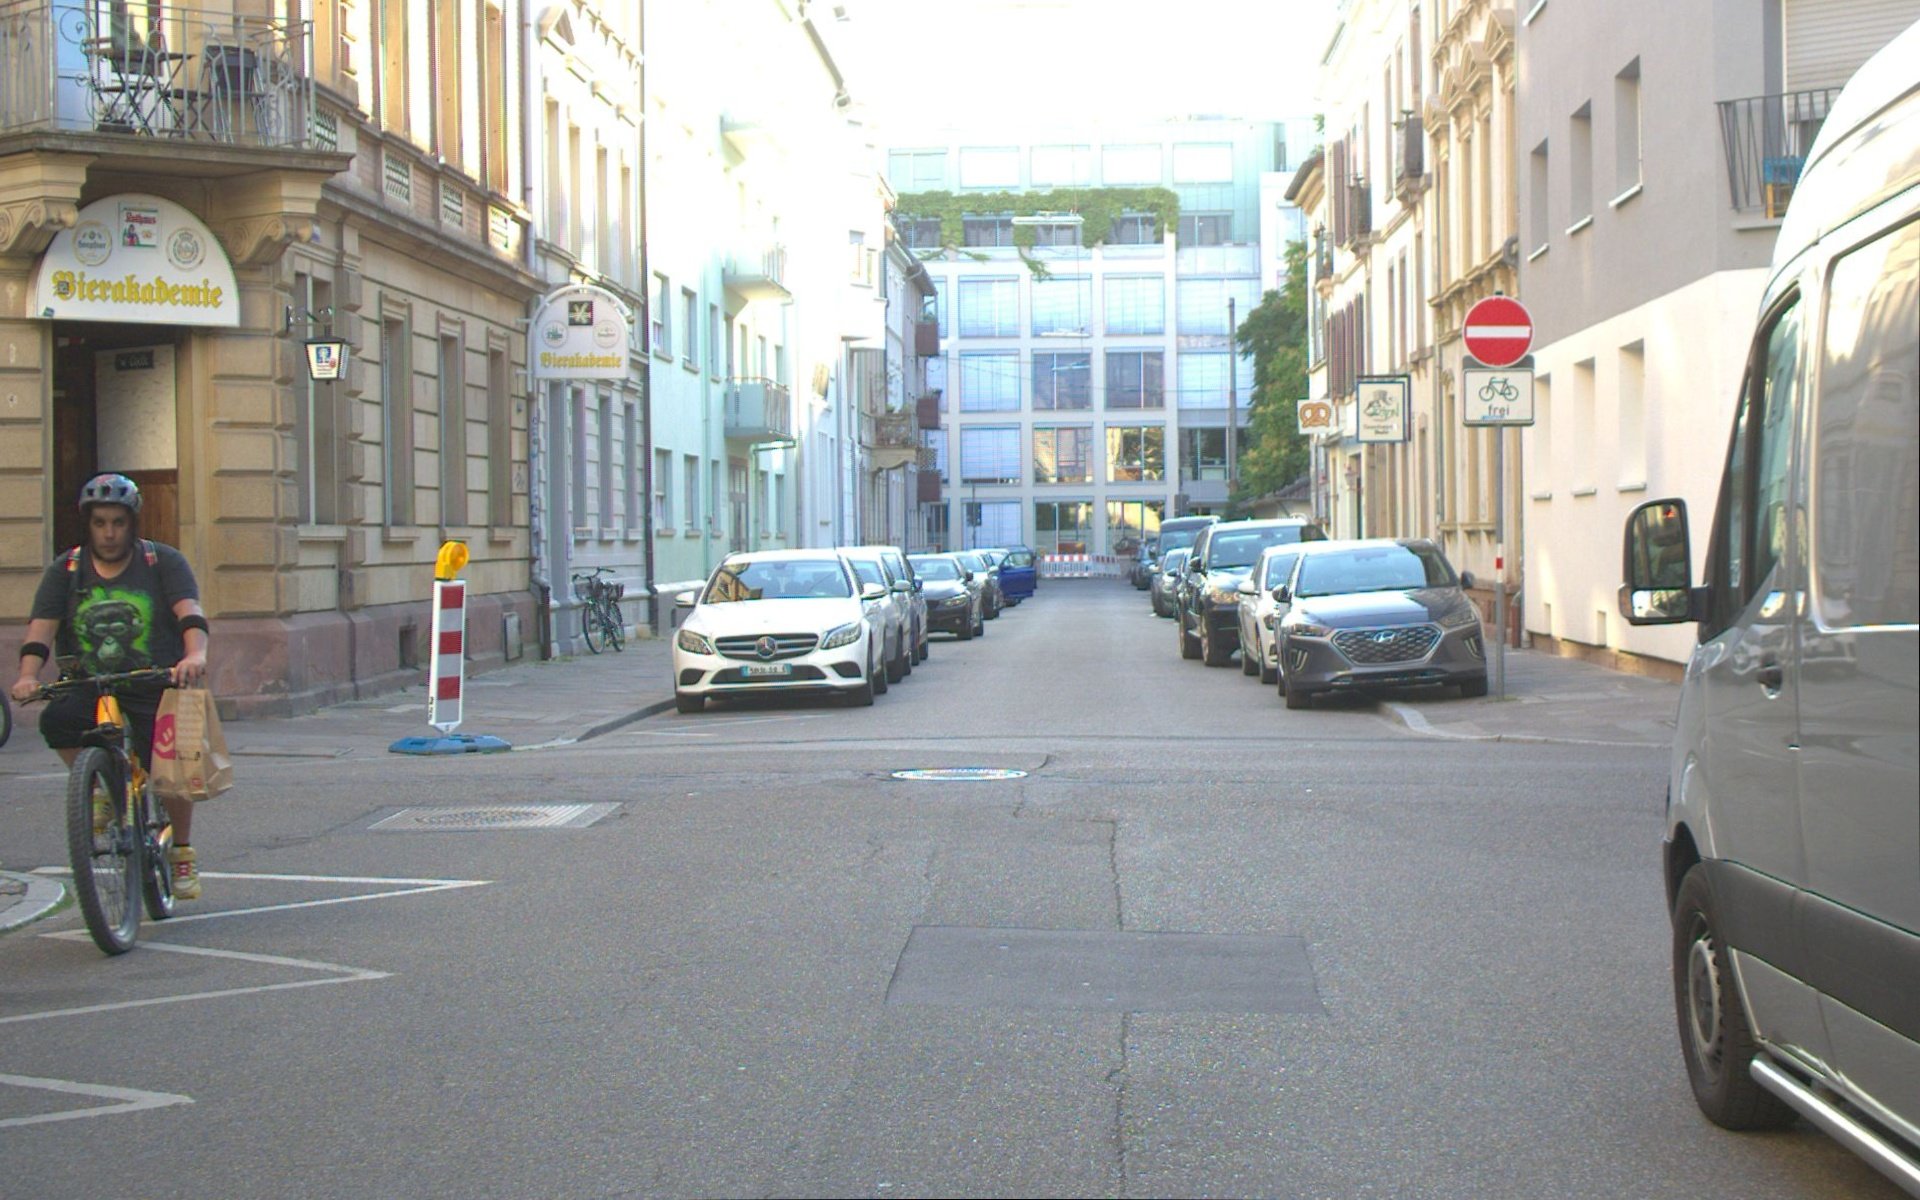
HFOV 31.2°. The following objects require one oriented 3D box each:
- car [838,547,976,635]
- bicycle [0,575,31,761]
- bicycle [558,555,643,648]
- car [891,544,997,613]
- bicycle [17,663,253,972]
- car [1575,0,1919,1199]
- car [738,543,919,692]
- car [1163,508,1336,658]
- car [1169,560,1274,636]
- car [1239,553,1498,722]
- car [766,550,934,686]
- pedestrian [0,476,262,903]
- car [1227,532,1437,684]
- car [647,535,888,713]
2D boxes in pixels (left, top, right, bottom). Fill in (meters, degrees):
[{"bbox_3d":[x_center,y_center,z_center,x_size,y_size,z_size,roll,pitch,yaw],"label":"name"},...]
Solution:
[{"bbox_3d":[-0.814,-0.172,55.419,1.993,1.350,4.429,0,1,2],"label":"car"},{"bbox_3d":[-7.593,0.484,24.460,1.757,1.270,0.661,0,4,-1],"label":"bicycle"},{"bbox_3d":[-4.615,0.008,44.273,0.737,1.156,2.461,0,1,2],"label":"bicycle"},{"bbox_3d":[-0.326,-0.487,73.391,2.173,1.413,4.000,-1,1,0],"label":"car"},{"bbox_3d":[-3.081,0.776,12.981,0.538,1.004,1.981,-1,1,-4],"label":"bicycle"},{"bbox_3d":[2.754,0.090,6.858,2.277,2.431,6.203,0,1,3],"label":"car"},{"bbox_3d":[-1.418,0.157,38.380,1.625,1.571,3.754,0,1,4],"label":"car"},{"bbox_3d":[3.559,-0.232,42.895,1.893,1.778,4.000,-1,1,1],"label":"car"},{"bbox_3d":[5.142,-0.065,67.984,1.994,1.446,4.000,0,1,3],"label":"car"},{"bbox_3d":[3.660,0.297,31.394,1.938,1.367,3.789,-2,1,1],"label":"car"},{"bbox_3d":[-1.370,0.196,44.125,1.785,1.653,3.816,0,1,4],"label":"car"},{"bbox_3d":[-3.137,0.315,12.994,0.829,1.540,1.083,-1,1,-4],"label":"pedestrian"},{"bbox_3d":[3.992,0.053,37.454,1.963,1.552,3.889,0,1,2],"label":"car"},{"bbox_3d":[-1.753,0.174,32.739,1.993,1.559,4.506,0,1,1],"label":"car"}]
